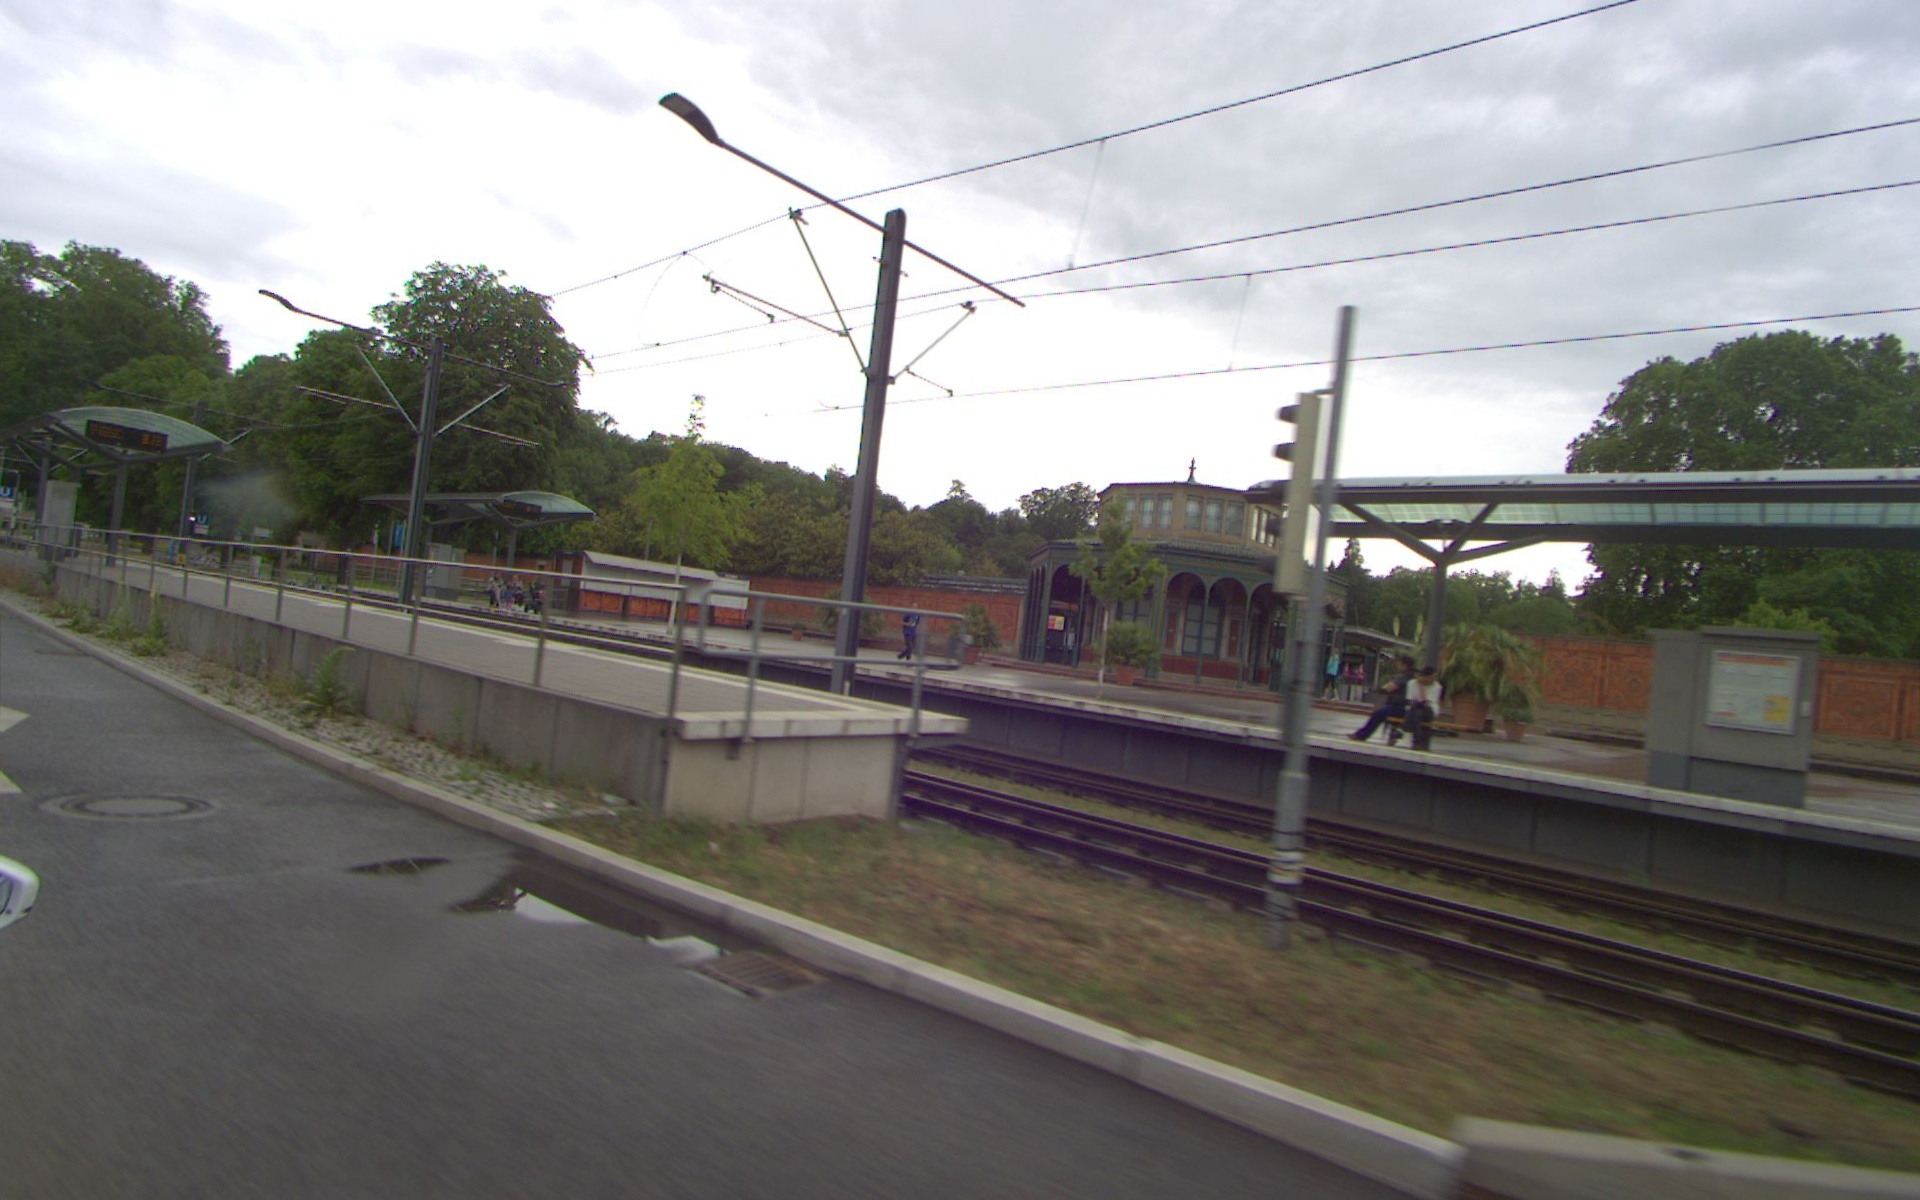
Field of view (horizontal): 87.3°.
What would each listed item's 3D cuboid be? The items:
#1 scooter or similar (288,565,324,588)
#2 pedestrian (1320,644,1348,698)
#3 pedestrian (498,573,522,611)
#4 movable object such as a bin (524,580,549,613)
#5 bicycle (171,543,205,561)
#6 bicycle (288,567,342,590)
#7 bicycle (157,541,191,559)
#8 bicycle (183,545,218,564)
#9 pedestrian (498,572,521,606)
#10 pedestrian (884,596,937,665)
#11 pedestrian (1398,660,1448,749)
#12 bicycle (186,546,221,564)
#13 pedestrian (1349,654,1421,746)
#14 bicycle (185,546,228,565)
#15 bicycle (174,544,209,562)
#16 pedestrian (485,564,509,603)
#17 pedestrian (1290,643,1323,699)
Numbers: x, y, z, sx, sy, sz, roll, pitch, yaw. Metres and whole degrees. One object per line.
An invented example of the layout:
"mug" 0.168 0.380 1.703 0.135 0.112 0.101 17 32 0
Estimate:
"scooter or similar" -36.729 -1.311 56.527 0.425 1.150 1.542 6 -1 39
"pedestrian" 12.233 2.317 32.879 0.543 1.675 0.468 7 -2 -15
"pedestrian" -15.249 -0.271 34.068 0.543 1.241 0.436 6 0 42
"movable object such as a bin" -14.124 -0.121 33.580 0.672 1.021 0.436 6 0 42
"bicycle" -55.767 -3.438 72.683 0.643 1.047 1.809 7 -1 38
"bicycle" -34.444 -1.142 53.771 0.562 0.968 2.320 6 -1 39
"bicycle" -58.653 -3.736 75.071 0.643 1.044 1.809 7 -1 38
"bicycle" -53.855 -3.230 71.302 0.643 1.044 1.809 7 -1 38
"pedestrian" -14.774 -0.363 32.980 0.543 1.021 0.436 6 0 42
"pedestrian" -1.414 0.874 28.556 1.166 1.813 0.719 6 1 42
"pedestrian" 6.434 1.460 13.985 0.511 1.130 0.603 6 -5 25
"bicycle" -53.227 -3.167 70.813 0.643 1.044 1.809 7 -1 38
"pedestrian" 6.316 1.482 14.956 0.771 1.224 0.520 4 -6 37
"bicycle" -52.546 -3.087 70.154 0.679 1.044 2.222 6 -1 38
"bicycle" -55.171 -3.368 72.256 0.643 1.044 1.809 7 -1 38
"pedestrian" -15.385 -0.550 33.419 0.543 1.241 0.436 6 0 42
"pedestrian" 11.311 2.314 32.856 0.529 1.728 0.688 10 -5 -38
